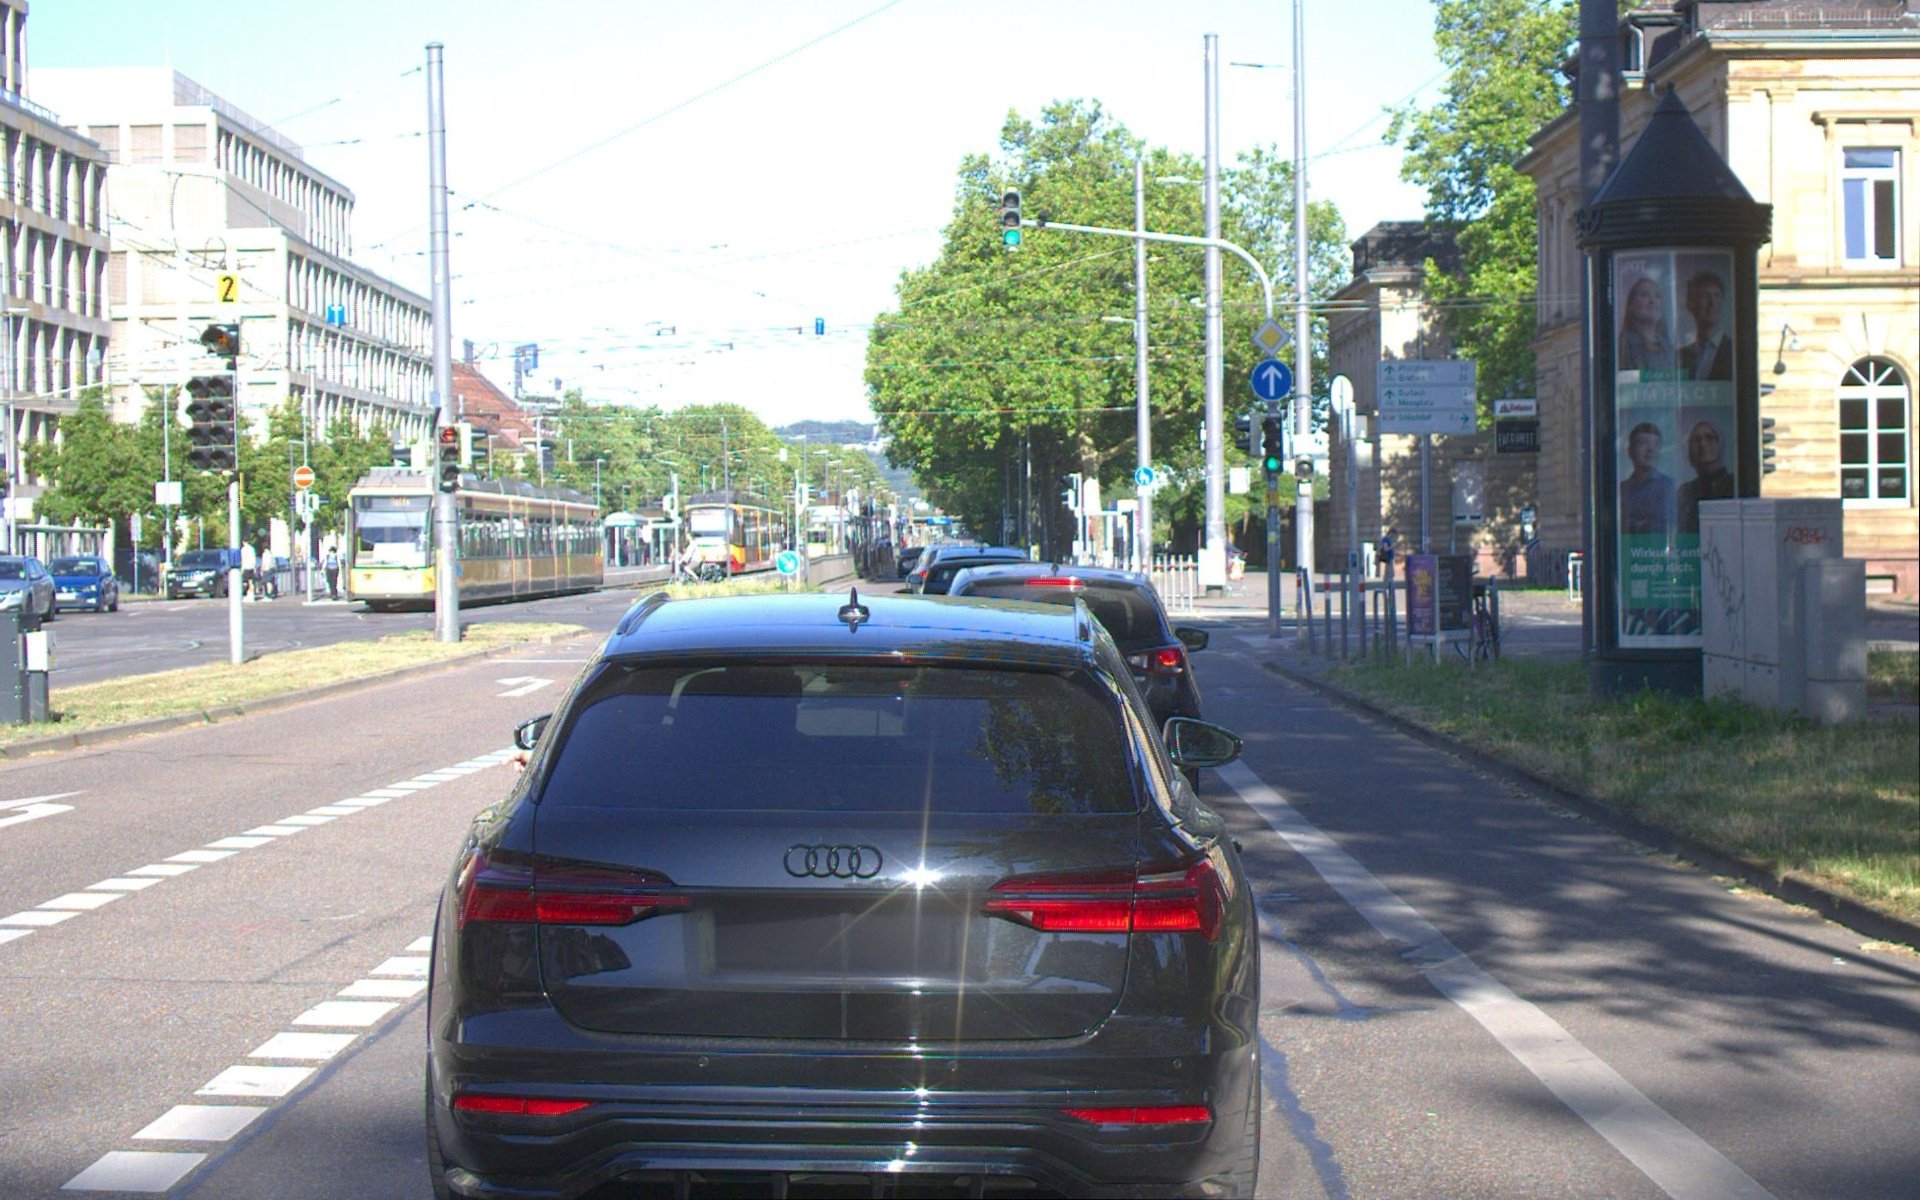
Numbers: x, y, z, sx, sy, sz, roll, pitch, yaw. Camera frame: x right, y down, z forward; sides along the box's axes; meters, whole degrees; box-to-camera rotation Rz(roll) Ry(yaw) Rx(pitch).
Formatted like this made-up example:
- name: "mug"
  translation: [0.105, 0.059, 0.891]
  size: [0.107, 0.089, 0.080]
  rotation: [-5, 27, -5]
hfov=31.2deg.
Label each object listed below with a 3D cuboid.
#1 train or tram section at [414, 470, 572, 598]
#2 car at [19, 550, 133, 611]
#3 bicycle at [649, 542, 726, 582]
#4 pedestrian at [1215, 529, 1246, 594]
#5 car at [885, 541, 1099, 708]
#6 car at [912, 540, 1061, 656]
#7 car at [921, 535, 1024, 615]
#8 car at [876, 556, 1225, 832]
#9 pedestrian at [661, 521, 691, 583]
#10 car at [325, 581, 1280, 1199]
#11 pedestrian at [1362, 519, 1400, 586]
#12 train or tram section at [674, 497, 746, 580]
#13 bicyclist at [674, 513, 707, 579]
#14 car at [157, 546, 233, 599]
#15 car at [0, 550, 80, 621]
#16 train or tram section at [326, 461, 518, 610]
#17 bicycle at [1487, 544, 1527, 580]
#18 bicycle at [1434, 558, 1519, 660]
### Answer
- name: "train or tram section"
  translation: [-13.568, -1.928, 100.944]
  size: [2.813, 3.477, 13.204]
  rotation: [-1, 1, 0]
- name: "car"
  translation: [-22.205, -0.518, 86.481]
  size: [1.820, 1.452, 4.157]
  rotation: [-1, 1, 0]
- name: "bicycle"
  translation: [-7.644, -1.072, 96.512]
  size: [2.005, 1.104, 0.765]
  rotation: [-1, 1, -17]
- name: "pedestrian"
  translation: [6.917, -0.993, 87.880]
  size: [0.682, 1.655, 0.758]
  rotation: [-1, 1, -2]
- name: "car"
  translation: [0.298, 0.186, 32.715]
  size: [1.902, 1.481, 4.145]
  rotation: [0, 1, 0]
- name: "car"
  translation: [0.353, -0.061, 46.007]
  size: [1.902, 1.481, 4.145]
  rotation: [0, 1, 0]
- name: "car"
  translation: [0.247, -0.502, 66.035]
  size: [1.902, 1.481, 4.145]
  rotation: [0, 1, 0]
- name: "car"
  translation: [0.505, 0.489, 20.839]
  size: [1.902, 1.481, 4.145]
  rotation: [0, 1, 0]
- name: "pedestrian"
  translation: [-8.104, -1.367, 98.071]
  size: [0.739, 1.735, 0.664]
  rotation: [-1, 1, -15]
- name: "car"
  translation: [-0.302, 0.689, 8.931]
  size: [1.902, 1.417, 4.145]
  rotation: [0, 1, 0]
- name: "pedestrian"
  translation: [11.787, -1.327, 96.270]
  size: [0.979, 1.859, 0.827]
  rotation: [-1, 1, 1]
- name: "train or tram section"
  translation: [-10.792, -2.692, 149.188]
  size: [2.608, 3.439, 11.133]
  rotation: [-1, 1, -2]
- name: "bicyclist"
  translation: [-7.570, -1.518, 96.536]
  size: [0.756, 1.812, 0.765]
  rotation: [-1, 1, -17]
- name: "car"
  translation: [-27.423, -0.998, 123.310]
  size: [1.842, 1.806, 4.113]
  rotation: [-1, 1, -1]
- name: "car"
  translation: [-20.386, -0.316, 73.828]
  size: [1.820, 1.452, 4.541]
  rotation: [-1, 1, 0]
- name: "train or tram section"
  translation: [-13.538, -1.652, 87.733]
  size: [2.813, 3.477, 13.204]
  rotation: [-1, 1, 0]
- name: "bicycle"
  translation: [16.703, -1.167, 104.982]
  size: [0.526, 1.043, 2.360]
  rotation: [-1, 1, -8]
- name: "bicycle"
  translation: [5.597, 0.083, 37.333]
  size: [0.540, 1.058, 1.772]
  rotation: [-1, 1, -4]
